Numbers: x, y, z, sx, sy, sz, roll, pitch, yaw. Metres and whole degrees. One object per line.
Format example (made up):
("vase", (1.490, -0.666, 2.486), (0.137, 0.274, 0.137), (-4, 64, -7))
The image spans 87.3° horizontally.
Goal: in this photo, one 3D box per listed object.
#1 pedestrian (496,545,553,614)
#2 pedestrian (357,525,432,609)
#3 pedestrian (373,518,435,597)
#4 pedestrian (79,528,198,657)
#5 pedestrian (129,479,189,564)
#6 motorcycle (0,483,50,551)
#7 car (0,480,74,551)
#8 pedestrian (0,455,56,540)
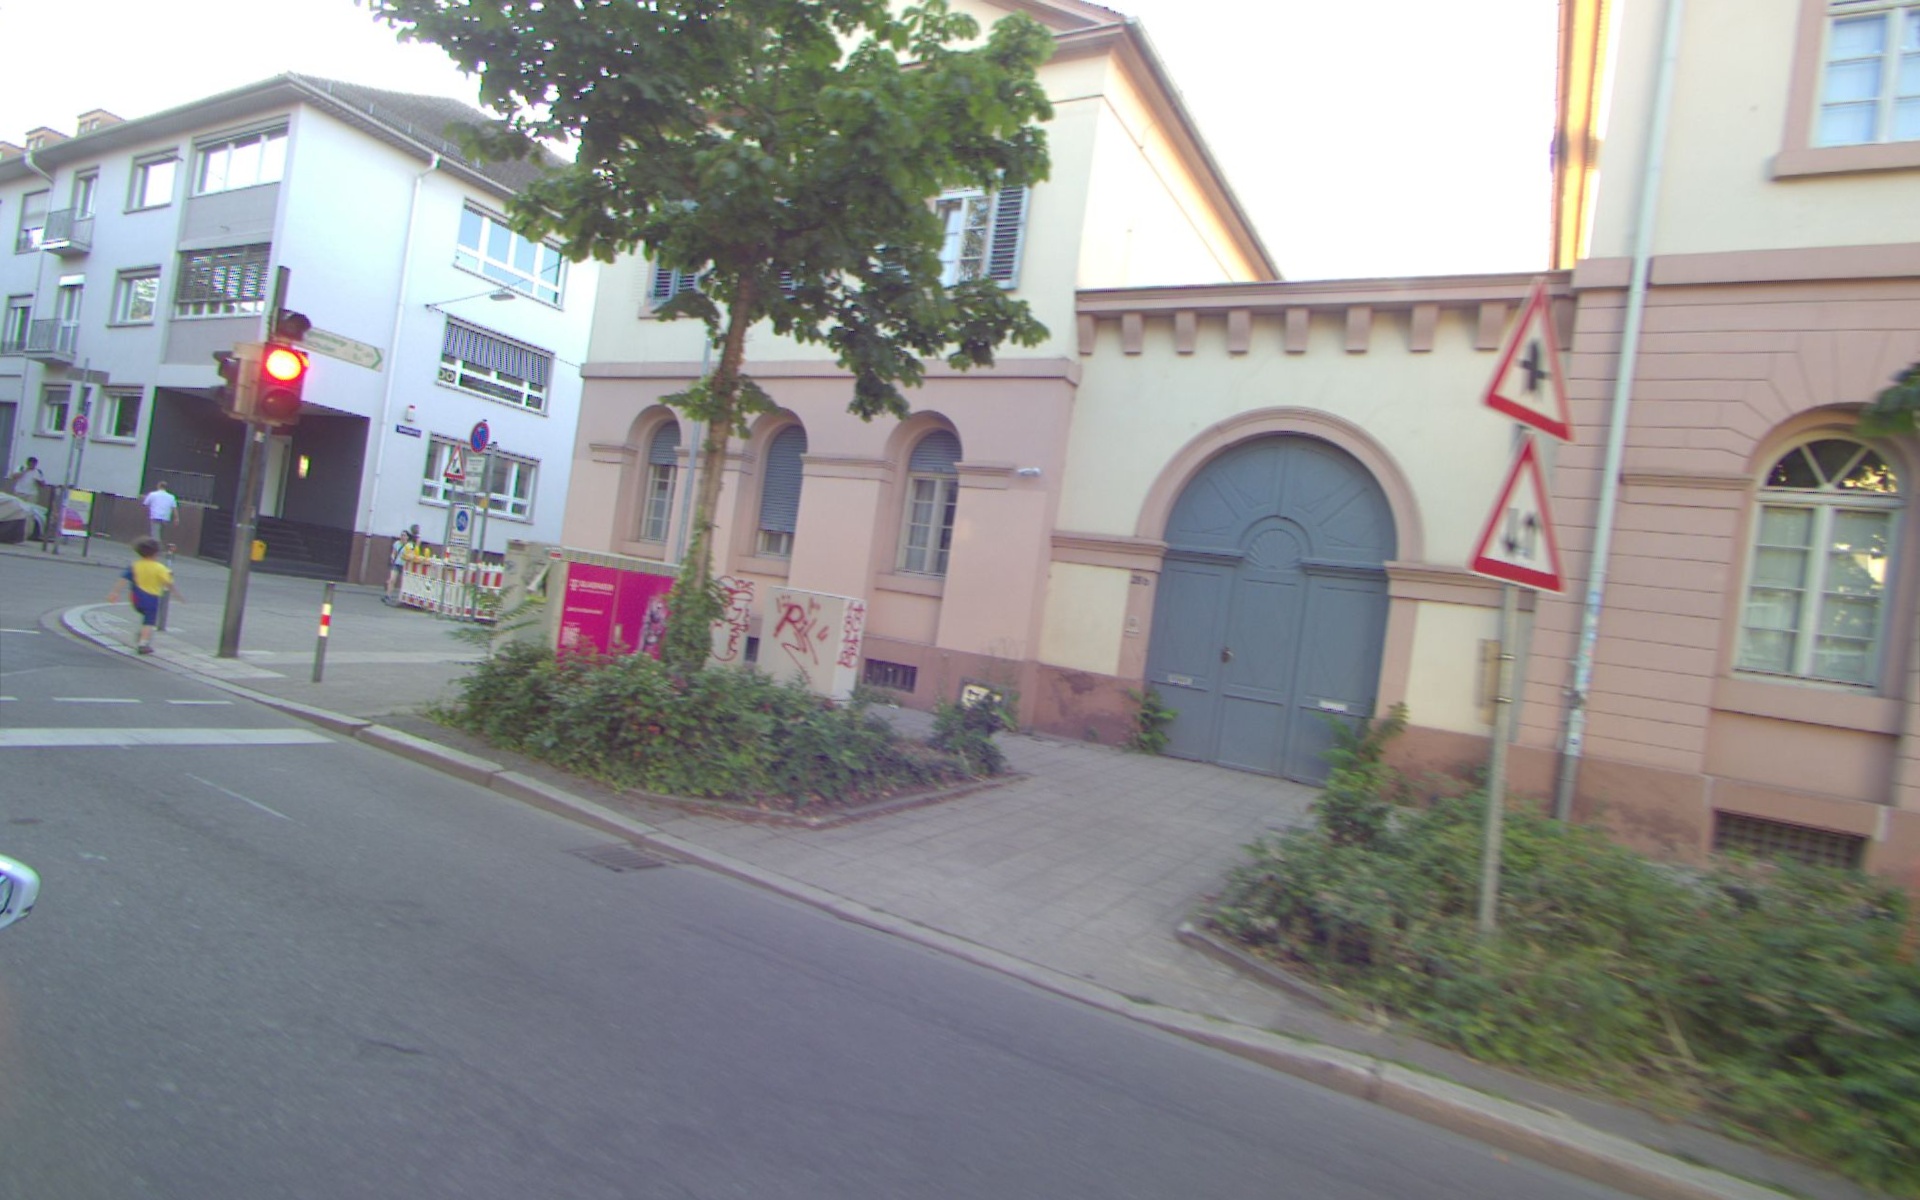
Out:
("pedestrian", (-10.413, -0.477, 24.052), (0.762, 1.519, 0.801), (7, 1, 24))
("pedestrian", (-11.852, -0.678, 21.101), (0.689, 1.575, 0.979), (8, -1, 31))
("pedestrian", (-13.679, -1.040, 24.753), (0.918, 1.772, 0.770), (8, 0, 32))
("pedestrian", (-8.019, -0.076, 9.859), (0.560, 1.134, 0.833), (9, -1, -23))
("pedestrian", (-18.323, -1.793, 23.011), (0.688, 1.772, 0.704), (8, 0, 35))
("motorcycle", (-18.972, -1.699, 19.505), (0.604, 1.214, 1.799), (8, 0, 40))
("car", (-21.643, -2.037, 21.229), (1.678, 1.358, 4.021), (8, -1, 31))
("pedestrian", (-22.688, -2.476, 24.371), (0.928, 1.862, 0.768), (8, 0, 32))
